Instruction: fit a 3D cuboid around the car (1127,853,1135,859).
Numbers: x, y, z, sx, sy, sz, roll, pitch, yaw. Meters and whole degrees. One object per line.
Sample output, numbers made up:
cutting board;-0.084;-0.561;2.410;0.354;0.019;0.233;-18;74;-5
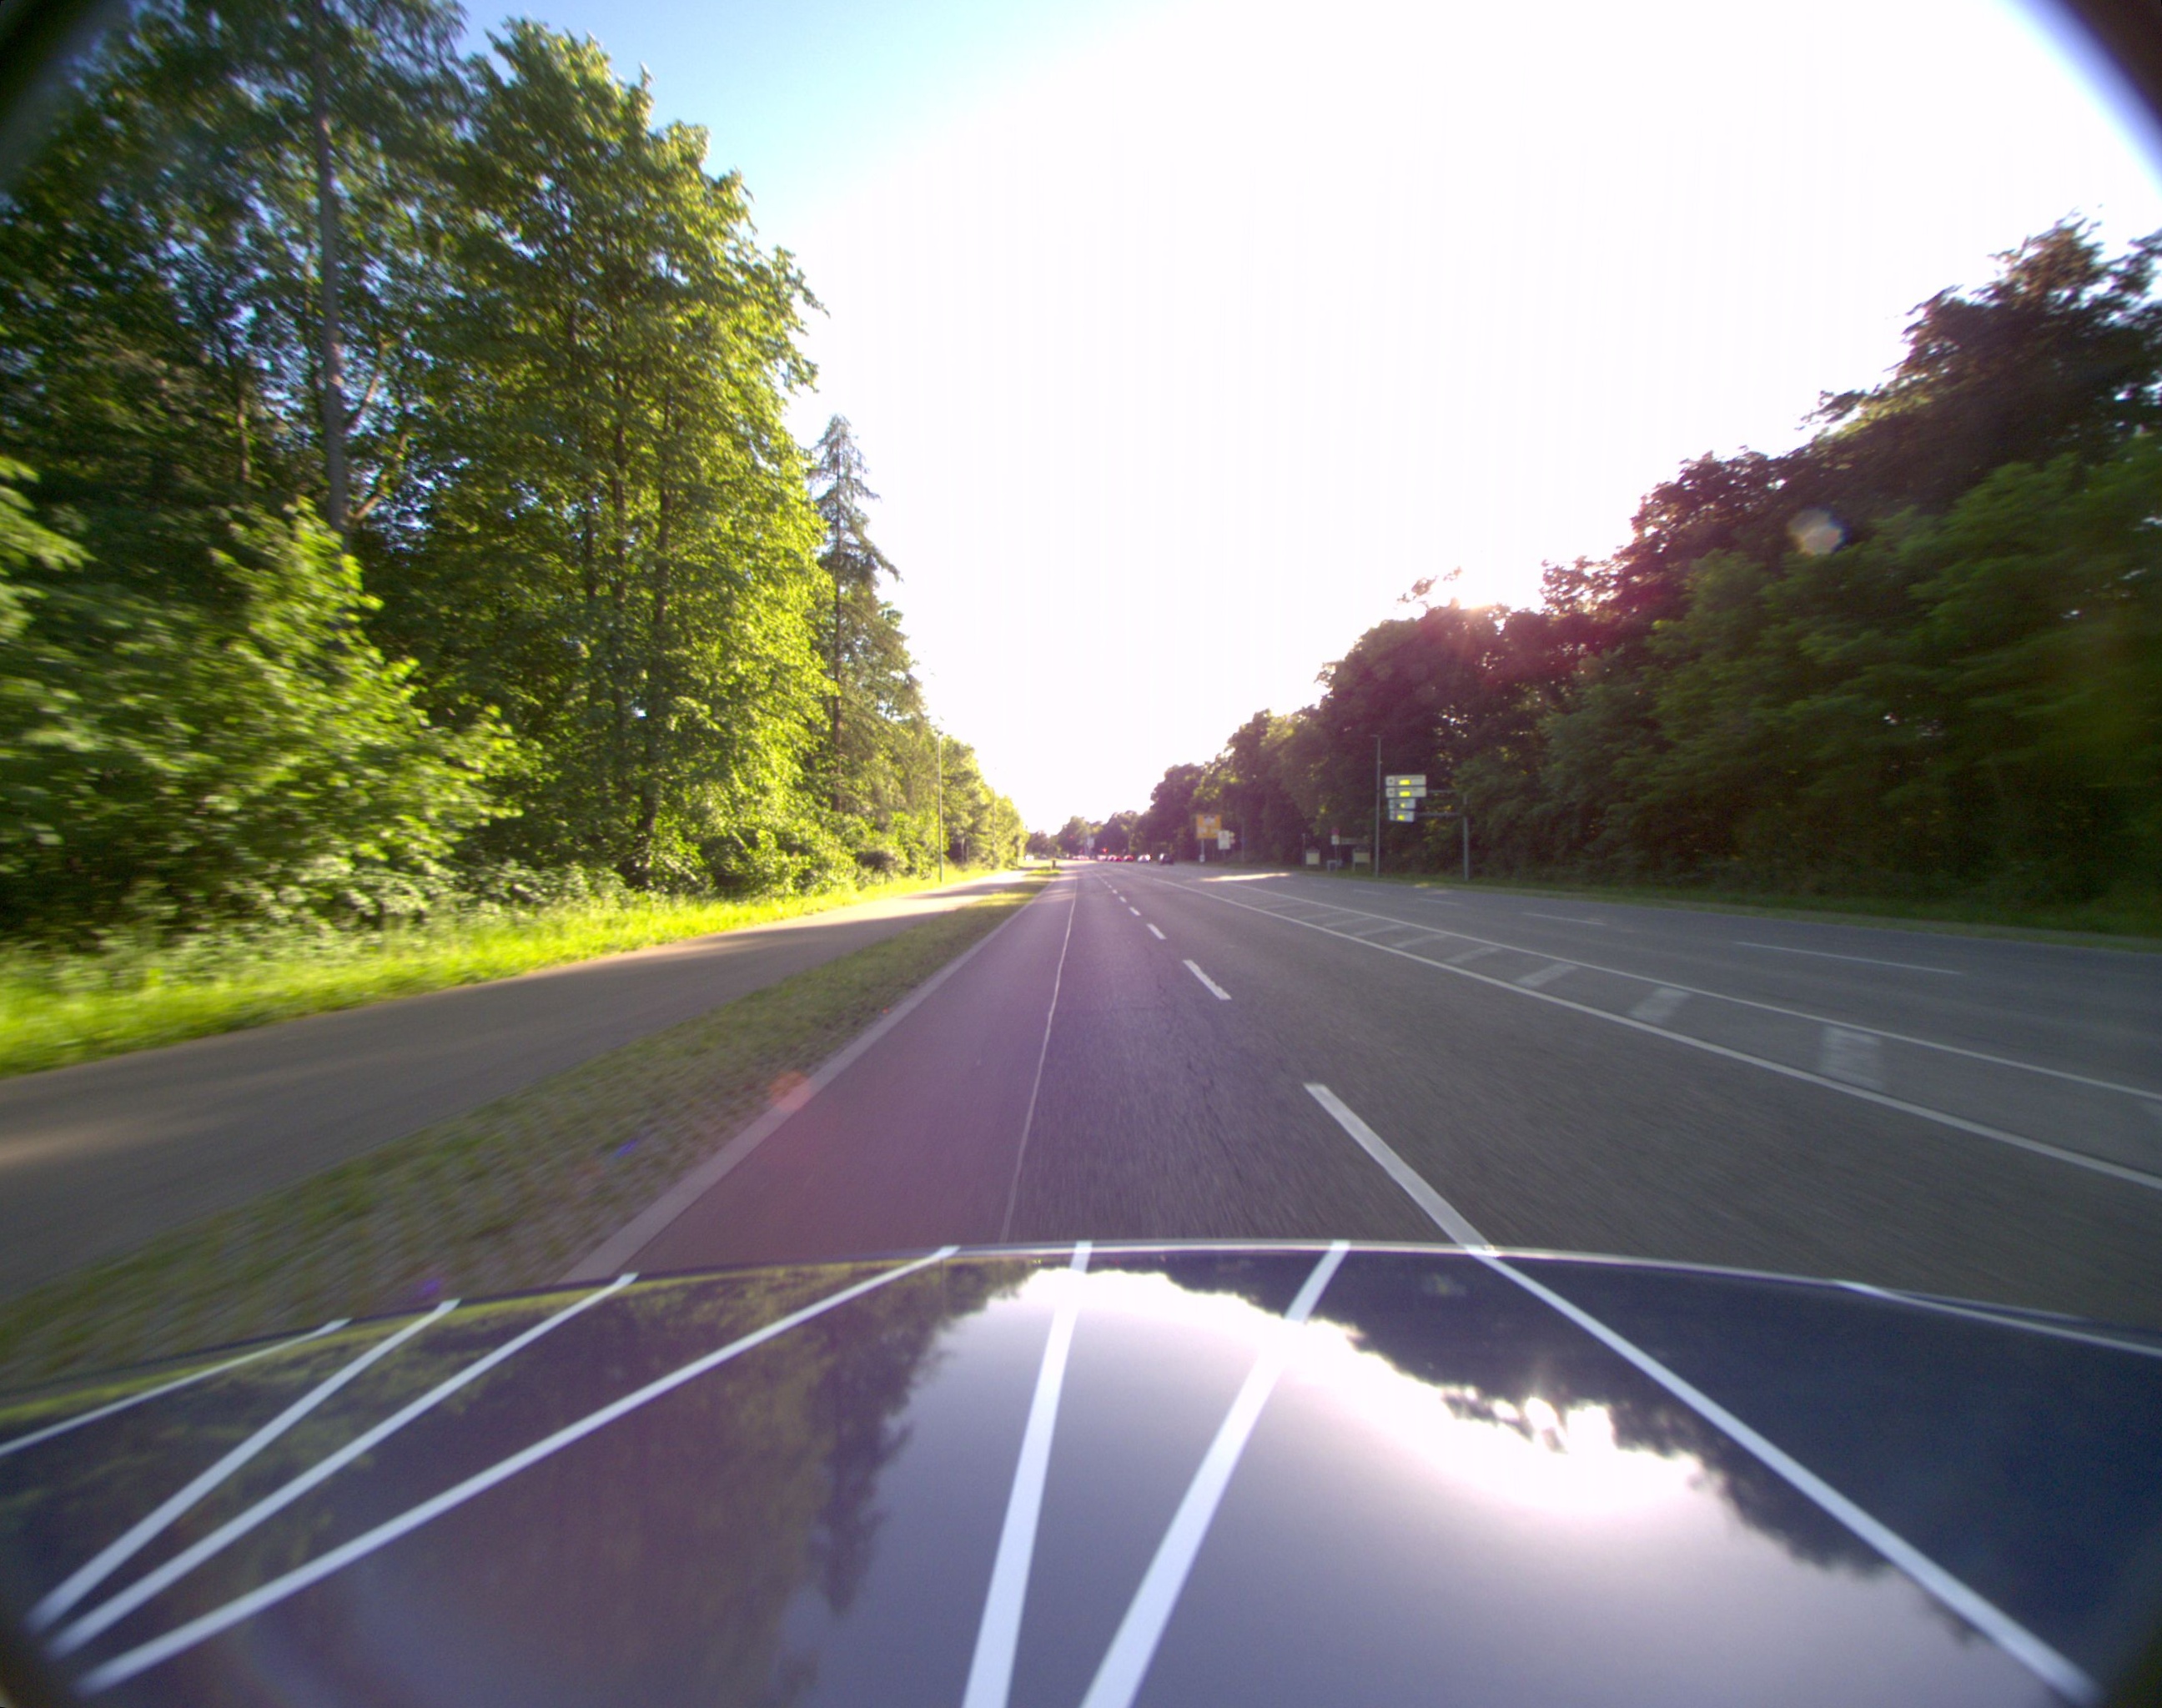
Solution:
car;12.004;0.440;181.766;1.829;1.536;4.257;-1;0;2

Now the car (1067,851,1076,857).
car;-3.025;-0.099;241.338;2.000;1.950;4.643;1;0;-10

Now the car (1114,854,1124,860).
car;9.921;0.697;197.424;1.999;1.555;4.336;0;0;-5

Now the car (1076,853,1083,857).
car;-0.395;0.338;226.535;1.749;1.227;4.671;0;0;-5

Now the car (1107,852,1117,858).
car;8.391;0.232;204.736;2.000;1.627;4.840;0;0;-7

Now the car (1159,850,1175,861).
car;12.548;0.256;110.790;1.829;1.580;4.351;-1;0;0

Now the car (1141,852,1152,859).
car;13.773;0.286;159.682;1.829;1.495;4.306;-1;0;0
